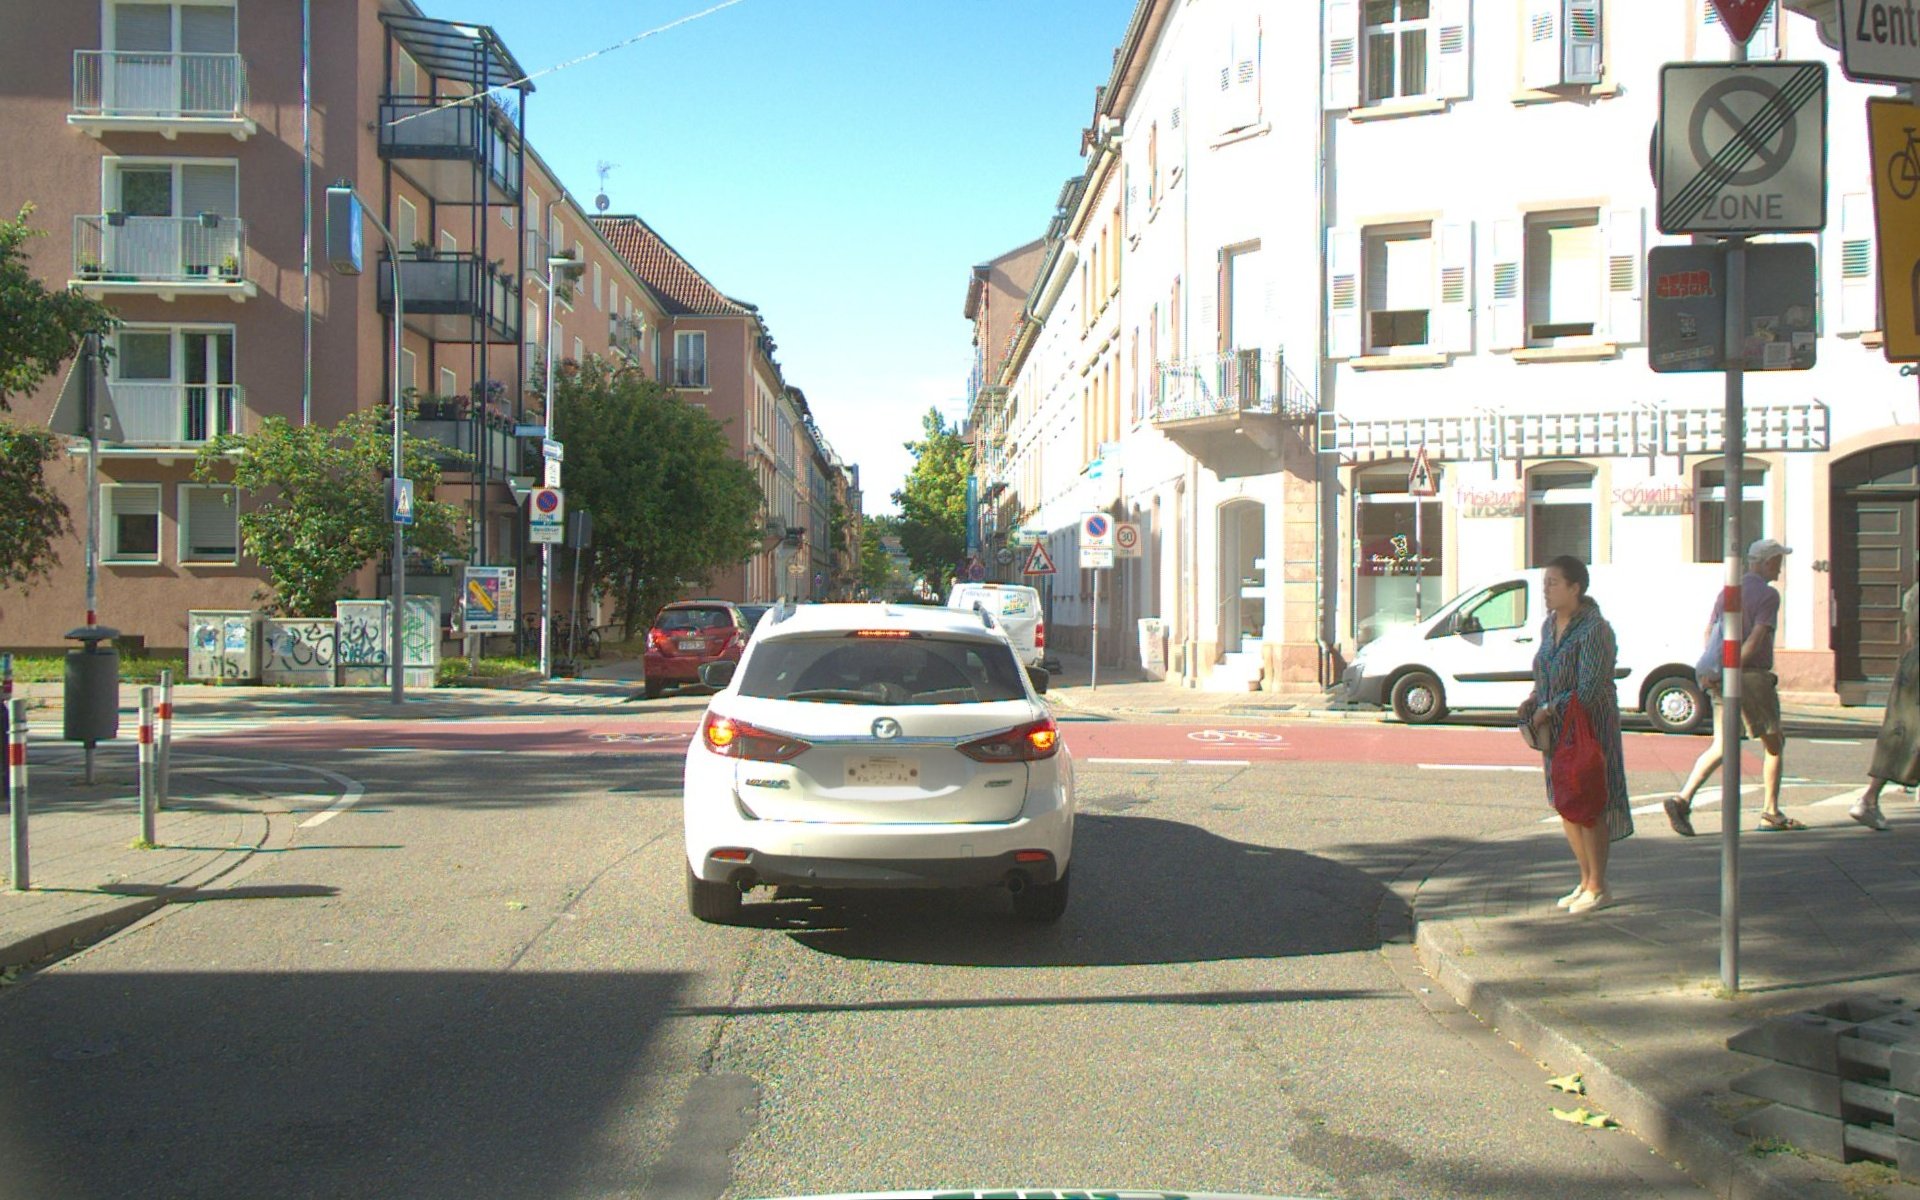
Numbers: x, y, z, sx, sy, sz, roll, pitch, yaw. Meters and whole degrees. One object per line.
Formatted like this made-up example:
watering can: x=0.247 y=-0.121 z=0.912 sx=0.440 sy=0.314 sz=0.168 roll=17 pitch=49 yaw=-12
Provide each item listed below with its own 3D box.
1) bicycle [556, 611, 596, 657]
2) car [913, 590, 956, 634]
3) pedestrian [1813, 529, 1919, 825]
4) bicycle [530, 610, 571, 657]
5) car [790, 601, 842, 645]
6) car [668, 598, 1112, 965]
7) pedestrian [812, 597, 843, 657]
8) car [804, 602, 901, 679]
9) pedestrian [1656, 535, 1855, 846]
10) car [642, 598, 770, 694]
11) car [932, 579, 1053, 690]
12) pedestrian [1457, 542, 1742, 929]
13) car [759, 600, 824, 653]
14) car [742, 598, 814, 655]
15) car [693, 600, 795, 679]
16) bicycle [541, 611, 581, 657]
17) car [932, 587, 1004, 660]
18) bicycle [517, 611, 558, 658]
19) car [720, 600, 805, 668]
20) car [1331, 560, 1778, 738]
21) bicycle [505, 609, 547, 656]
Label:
bicycle: x=-9.160 y=0.803 z=39.437 sx=1.196 sy=1.090 sz=0.252 roll=0 pitch=0 yaw=38
car: x=-1.125 y=0.518 z=73.090 sx=1.856 sy=1.892 sz=3.994 roll=0 pitch=0 yaw=-1
pedestrian: x=5.761 y=0.445 z=9.905 sx=0.819 sy=1.696 sz=0.626 roll=-4 pitch=-4 yaw=-1
bicycle: x=-9.678 y=0.785 z=39.090 sx=1.193 sy=1.089 sz=0.252 roll=0 pitch=0 yaw=38
car: x=-5.262 y=0.820 z=60.697 sx=1.620 sy=1.526 sz=3.762 roll=0 pitch=0 yaw=-1
car: x=-0.315 y=0.735 z=8.684 sx=1.794 sy=1.482 sz=3.961 roll=0 pitch=0 yaw=-1
pedestrian: x=-3.660 y=0.735 z=45.533 sx=0.720 sy=1.642 sz=0.813 roll=0 pitch=0 yaw=-14
car: x=-2.084 y=0.765 z=33.150 sx=1.725 sy=1.434 sz=4.327 roll=0 pitch=0 yaw=-1
pedestrian: x=4.810 y=0.538 z=10.051 sx=0.734 sy=1.796 sz=0.830 roll=-1 pitch=-3 yaw=-2
car: x=-4.248 y=0.735 z=28.167 sx=1.650 sy=1.526 sz=3.806 roll=0 pitch=0 yaw=-1
car: x=0.541 y=0.613 z=31.858 sx=1.857 sy=1.891 sz=5.010 roll=2 pitch=0 yaw=-4
pedestrian: x=2.894 y=0.590 z=7.581 sx=0.827 sy=1.600 sz=0.846 roll=-5 pitch=-1 yaw=-1
car: x=-5.062 y=0.772 z=50.056 sx=1.620 sy=1.526 sz=3.762 roll=0 pitch=0 yaw=-1
car: x=-5.018 y=0.708 z=45.964 sx=1.620 sy=1.526 sz=3.762 roll=0 pitch=0 yaw=-1
car: x=-4.407 y=0.766 z=34.221 sx=1.620 sy=1.526 sz=4.079 roll=0 pitch=0 yaw=-1
bicycle: x=-9.492 y=0.803 z=39.326 sx=1.193 sy=1.090 sz=0.252 roll=0 pitch=0 yaw=38
car: x=0.176 y=0.614 z=45.033 sx=1.856 sy=1.892 sz=3.994 roll=0 pitch=0 yaw=-1
bicycle: x=-9.918 y=0.805 z=38.811 sx=1.193 sy=1.091 sz=0.265 roll=0 pitch=0 yaw=38
car: x=-4.641 y=0.771 z=39.353 sx=1.620 sy=1.526 sz=3.762 roll=0 pitch=0 yaw=-1
car: x=7.182 y=0.543 z=20.255 sx=4.906 sy=1.980 sz=2.051 roll=0 pitch=0 yaw=21
bicycle: x=-10.128 y=0.750 z=38.543 sx=1.193 sy=1.053 sz=0.290 roll=0 pitch=0 yaw=38
